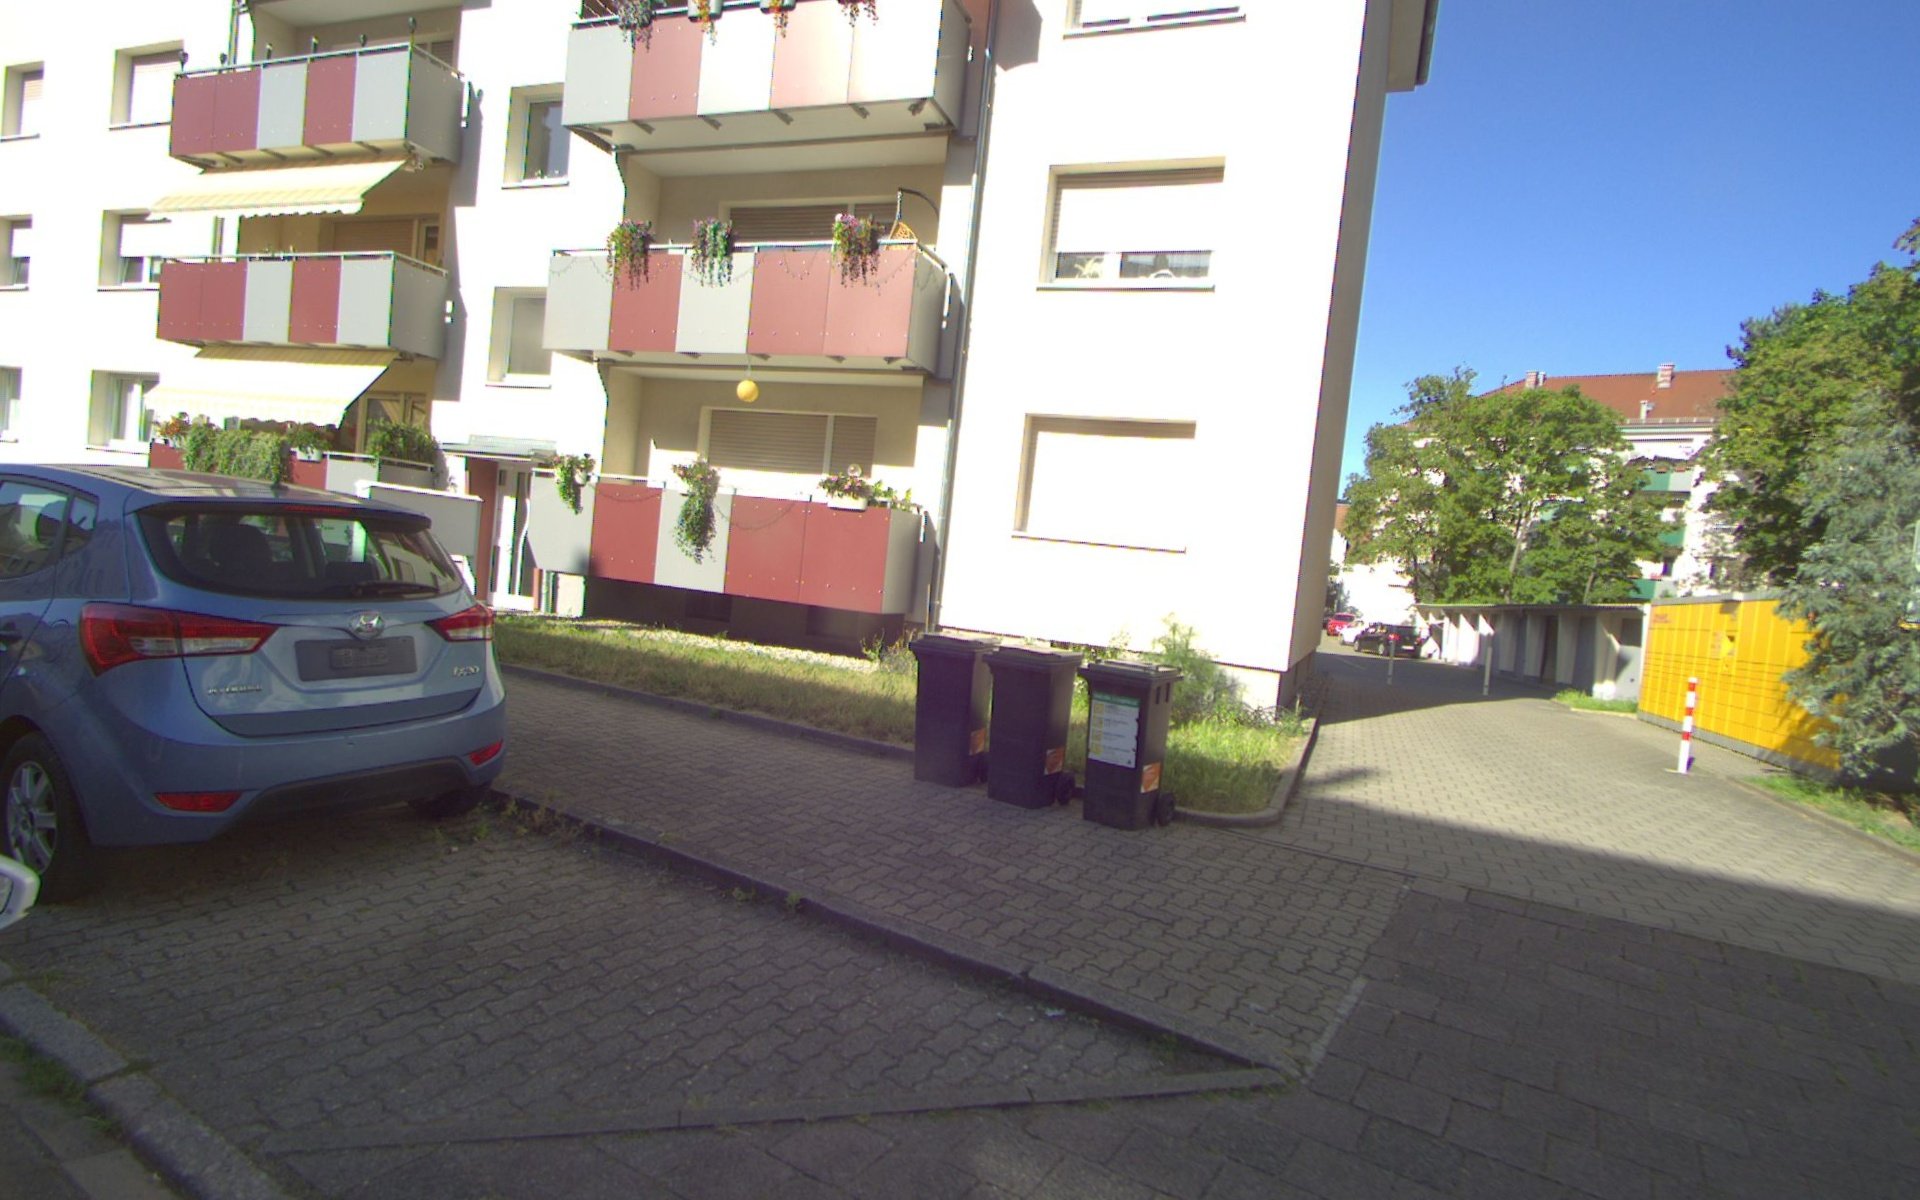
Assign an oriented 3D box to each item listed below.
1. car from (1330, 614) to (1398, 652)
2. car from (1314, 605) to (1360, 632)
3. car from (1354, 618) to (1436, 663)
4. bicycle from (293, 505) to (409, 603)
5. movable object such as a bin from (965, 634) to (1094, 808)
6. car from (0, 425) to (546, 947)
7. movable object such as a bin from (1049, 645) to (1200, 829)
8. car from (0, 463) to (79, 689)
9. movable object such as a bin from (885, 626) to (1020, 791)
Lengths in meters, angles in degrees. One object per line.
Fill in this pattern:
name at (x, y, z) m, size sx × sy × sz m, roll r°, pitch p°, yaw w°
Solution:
car at (21.316, 1.689, 53.310) m, size 1.962 × 1.469 × 4.470 m, roll 5°, pitch 3°, yaw 4°
car at (24.569, 1.194, 65.458) m, size 1.966 × 1.469 × 4.460 m, roll 7°, pitch 4°, yaw 30°
car at (19.655, 1.781, 45.693) m, size 1.962 × 1.469 × 4.470 m, roll 5°, pitch 3°, yaw 4°
bicycle at (-8.304, -0.639, 13.695) m, size 1.730 × 1.167 × 0.407 m, roll 7°, pitch 5°, yaw 24°
movable object such as a bin at (0.427, 0.695, 6.048) m, size 0.509 × 0.912 × 0.584 m, roll 7°, pitch 5°, yaw 27°
car at (-4.150, 0.111, 4.882) m, size 3.971 × 1.658 × 1.767 m, roll 6°, pitch 3°, yaw 28°
movable object such as a bin at (0.957, 0.757, 5.814) m, size 0.629 × 0.901 × 0.584 m, roll 7°, pitch 4°, yaw 27°
car at (-8.436, -0.348, 7.364) m, size 3.817 × 1.530 × 1.735 m, roll 7°, pitch 5°, yaw 27°
movable object such as a bin at (-0.042, 0.657, 6.364) m, size 0.575 × 0.913 × 0.584 m, roll 7°, pitch 5°, yaw 27°
